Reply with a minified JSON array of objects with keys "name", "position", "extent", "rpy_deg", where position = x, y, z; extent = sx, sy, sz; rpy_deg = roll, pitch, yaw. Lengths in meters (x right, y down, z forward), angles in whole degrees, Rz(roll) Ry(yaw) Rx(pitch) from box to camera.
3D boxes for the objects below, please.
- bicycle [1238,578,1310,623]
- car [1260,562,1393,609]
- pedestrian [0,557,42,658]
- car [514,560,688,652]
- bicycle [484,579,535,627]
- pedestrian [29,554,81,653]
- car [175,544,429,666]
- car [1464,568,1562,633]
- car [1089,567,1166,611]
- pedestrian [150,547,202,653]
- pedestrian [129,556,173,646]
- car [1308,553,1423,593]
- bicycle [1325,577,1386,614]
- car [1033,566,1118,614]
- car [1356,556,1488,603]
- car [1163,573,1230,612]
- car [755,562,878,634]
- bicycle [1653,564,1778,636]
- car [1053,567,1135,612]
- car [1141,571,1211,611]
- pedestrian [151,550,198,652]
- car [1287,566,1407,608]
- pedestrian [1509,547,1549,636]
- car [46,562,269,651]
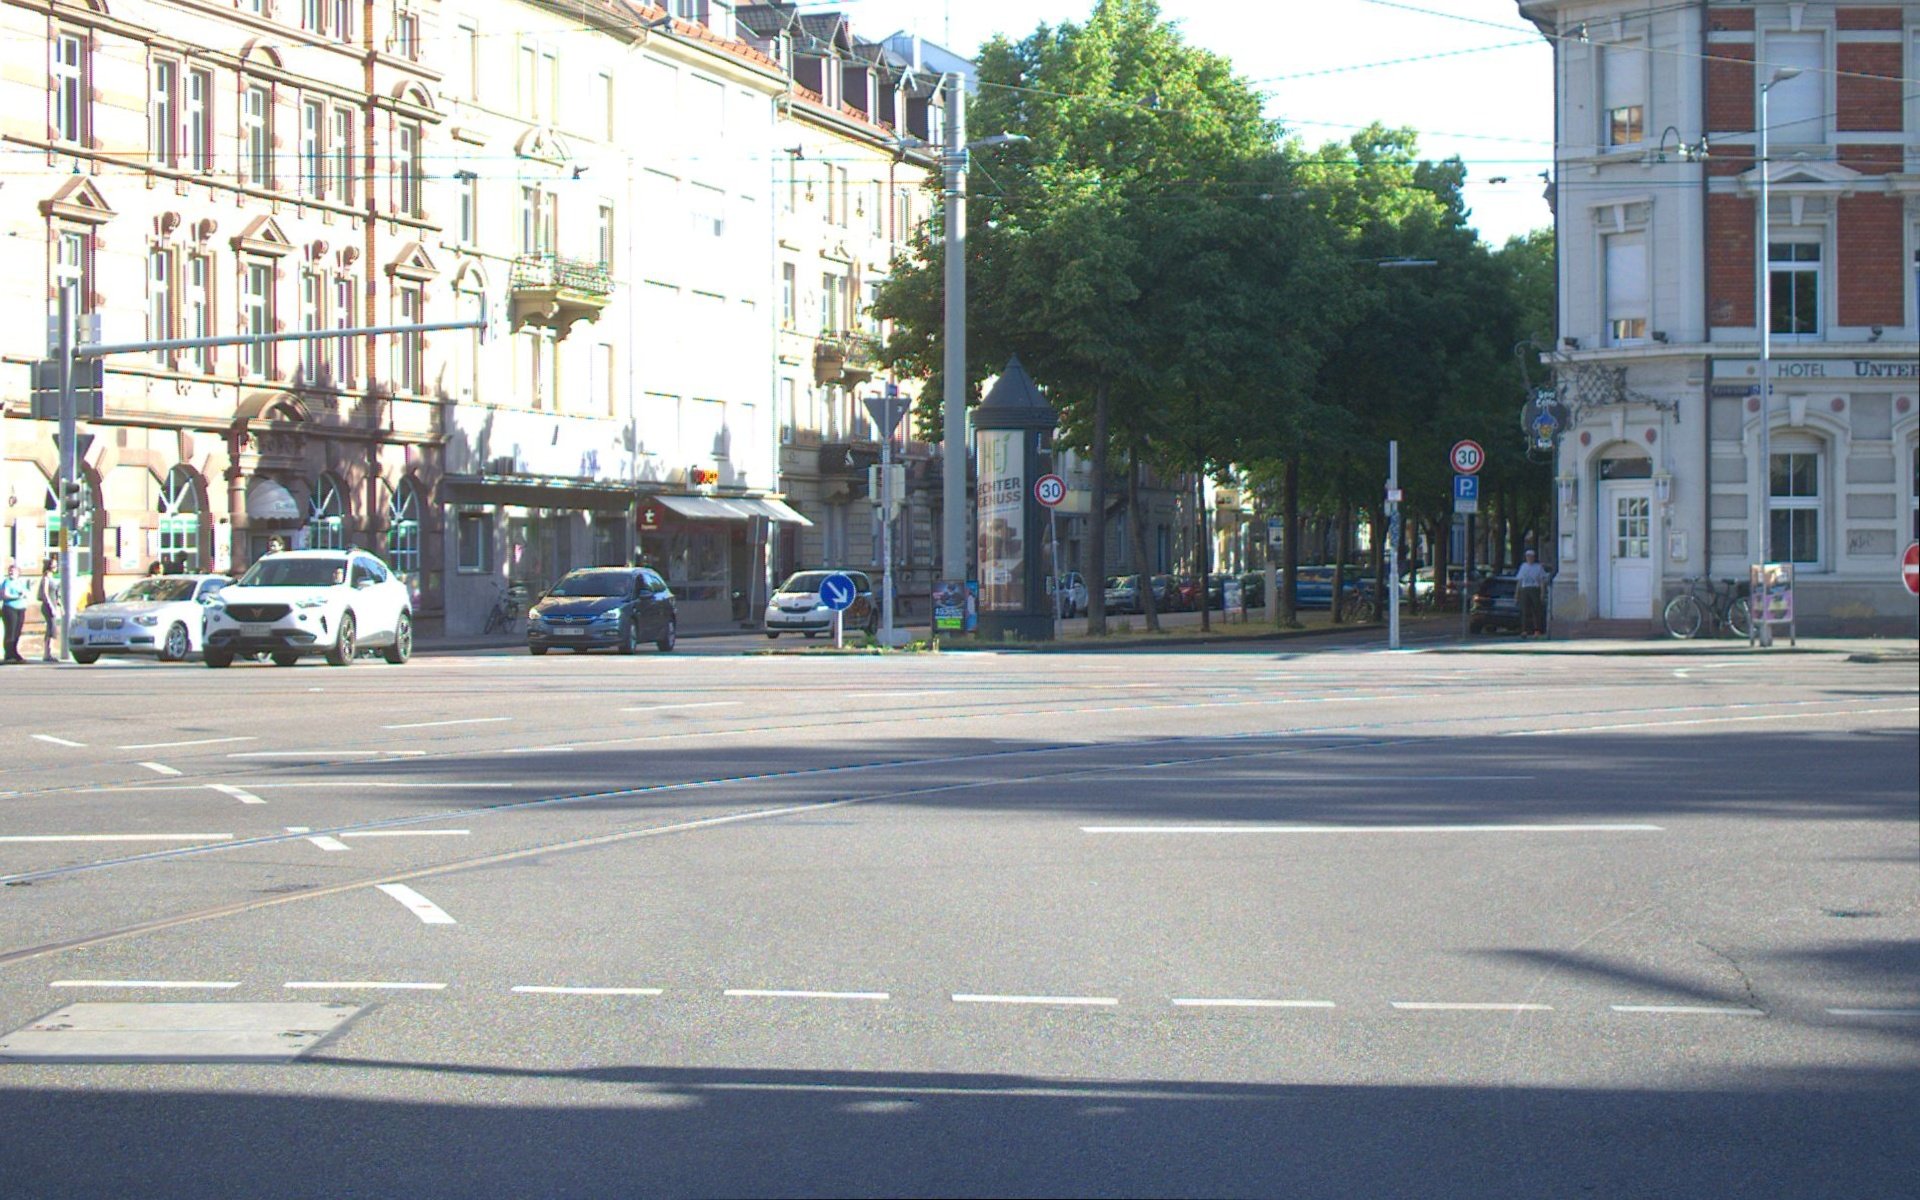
[{"name":"bicycle","position":[7.552,0.004,82.757],"extent":[0.582,1.063,1.949],"rpy_deg":[-1,1,-37]},{"name":"car","position":[12.327,-0.488,115.663],"extent":[3.993,1.540,1.997],"rpy_deg":[0,1,28]},{"name":"pedestrian","position":[-15.400,0.121,55.968],"extent":[0.675,1.636,0.578],"rpy_deg":[0,1,13]},{"name":"car","position":[-6.112,0.072,59.063],"extent":[1.774,1.492,4.571],"rpy_deg":[0,1,10]},{"name":"bicycle","position":[-10.426,0.065,79.554],"extent":[0.495,1.063,1.768],"rpy_deg":[0,1,16]},{"name":"pedestrian","position":[-15.062,0.060,57.217],"extent":[0.631,1.636,0.552],"rpy_deg":[0,1,13]},{"name":"car","position":[-8.444,0.030,44.521],"extent":[1.994,1.492,4.346],"rpy_deg":[0,1,7]},{"name":"car","position":[13.274,-0.002,82.414],"extent":[1.995,1.492,4.031],"rpy_deg":[0,1,14]},{"name":"car","position":[5.984,-0.405,122.596],"extent":[1.995,1.492,4.031],"rpy_deg":[0,1,14]},{"name":"pedestrian","position":[-14.162,-0.009,62.083],"extent":[0.682,1.902,0.632],"rpy_deg":[0,1,16]},{"name":"pedestrian","position":[-14.734,0.011,62.631],"extent":[0.631,1.636,0.552],"rpy_deg":[-1,1,-32]},{"name":"car","position":[15.859,-1.050,134.452],"extent":[3.993,1.540,1.997],"rpy_deg":[0,1,28]},{"name":"bicycle","position":[11.406,-0.133,99.266],"extent":[0.582,1.063,1.949],"rpy_deg":[-1,1,-37]},{"name":"car","position":[3.814,-0.342,112.873],"extent":[1.995,1.492,4.031],"rpy_deg":[0,1,14]},{"name":"car","position":[15.659,-0.697,116.508],"extent":[3.994,1.540,1.997],"rpy_deg":[0,1,31]},{"name":"car","position":[9.420,-0.317,136.531],"extent":[1.995,1.492,4.031],"rpy_deg":[0,1,14]},{"name":"car","position":[-3.082,-0.065,74.632],"extent":[1.719,1.492,3.581],"rpy_deg":[0,1,14]},{"name":"bicycle","position":[12.558,0.001,57.175],"extent":[1.961,1.186,0.546],"rpy_deg":[0,1,5]},{"name":"car","position":[4.591,-0.376,117.360],"extent":[1.995,1.492,4.031],"rpy_deg":[0,1,14]},{"name":"car","position":[8.302,-0.359,131.795],"extent":[1.995,1.492,4.031],"rpy_deg":[0,1,14]},{"name":"pedestrian","position":[-14.208,0.020,62.191],"extent":[0.580,1.830,0.632],"rpy_deg":[0,1,16]},{"name":"car","position":[14.450,-0.496,128.304],"extent":[3.993,1.540,1.997],"rpy_deg":[0,1,28]},{"name":"pedestrian","position":[10.797,-0.169,65.209],"extent":[0.716,1.664,0.939],"rpy_deg":[0,1,12]},{"name":"car","position":[-12.856,0.082,55.312],"extent":[1.994,1.350,4.220],"rpy_deg":[0,1,10]}]
